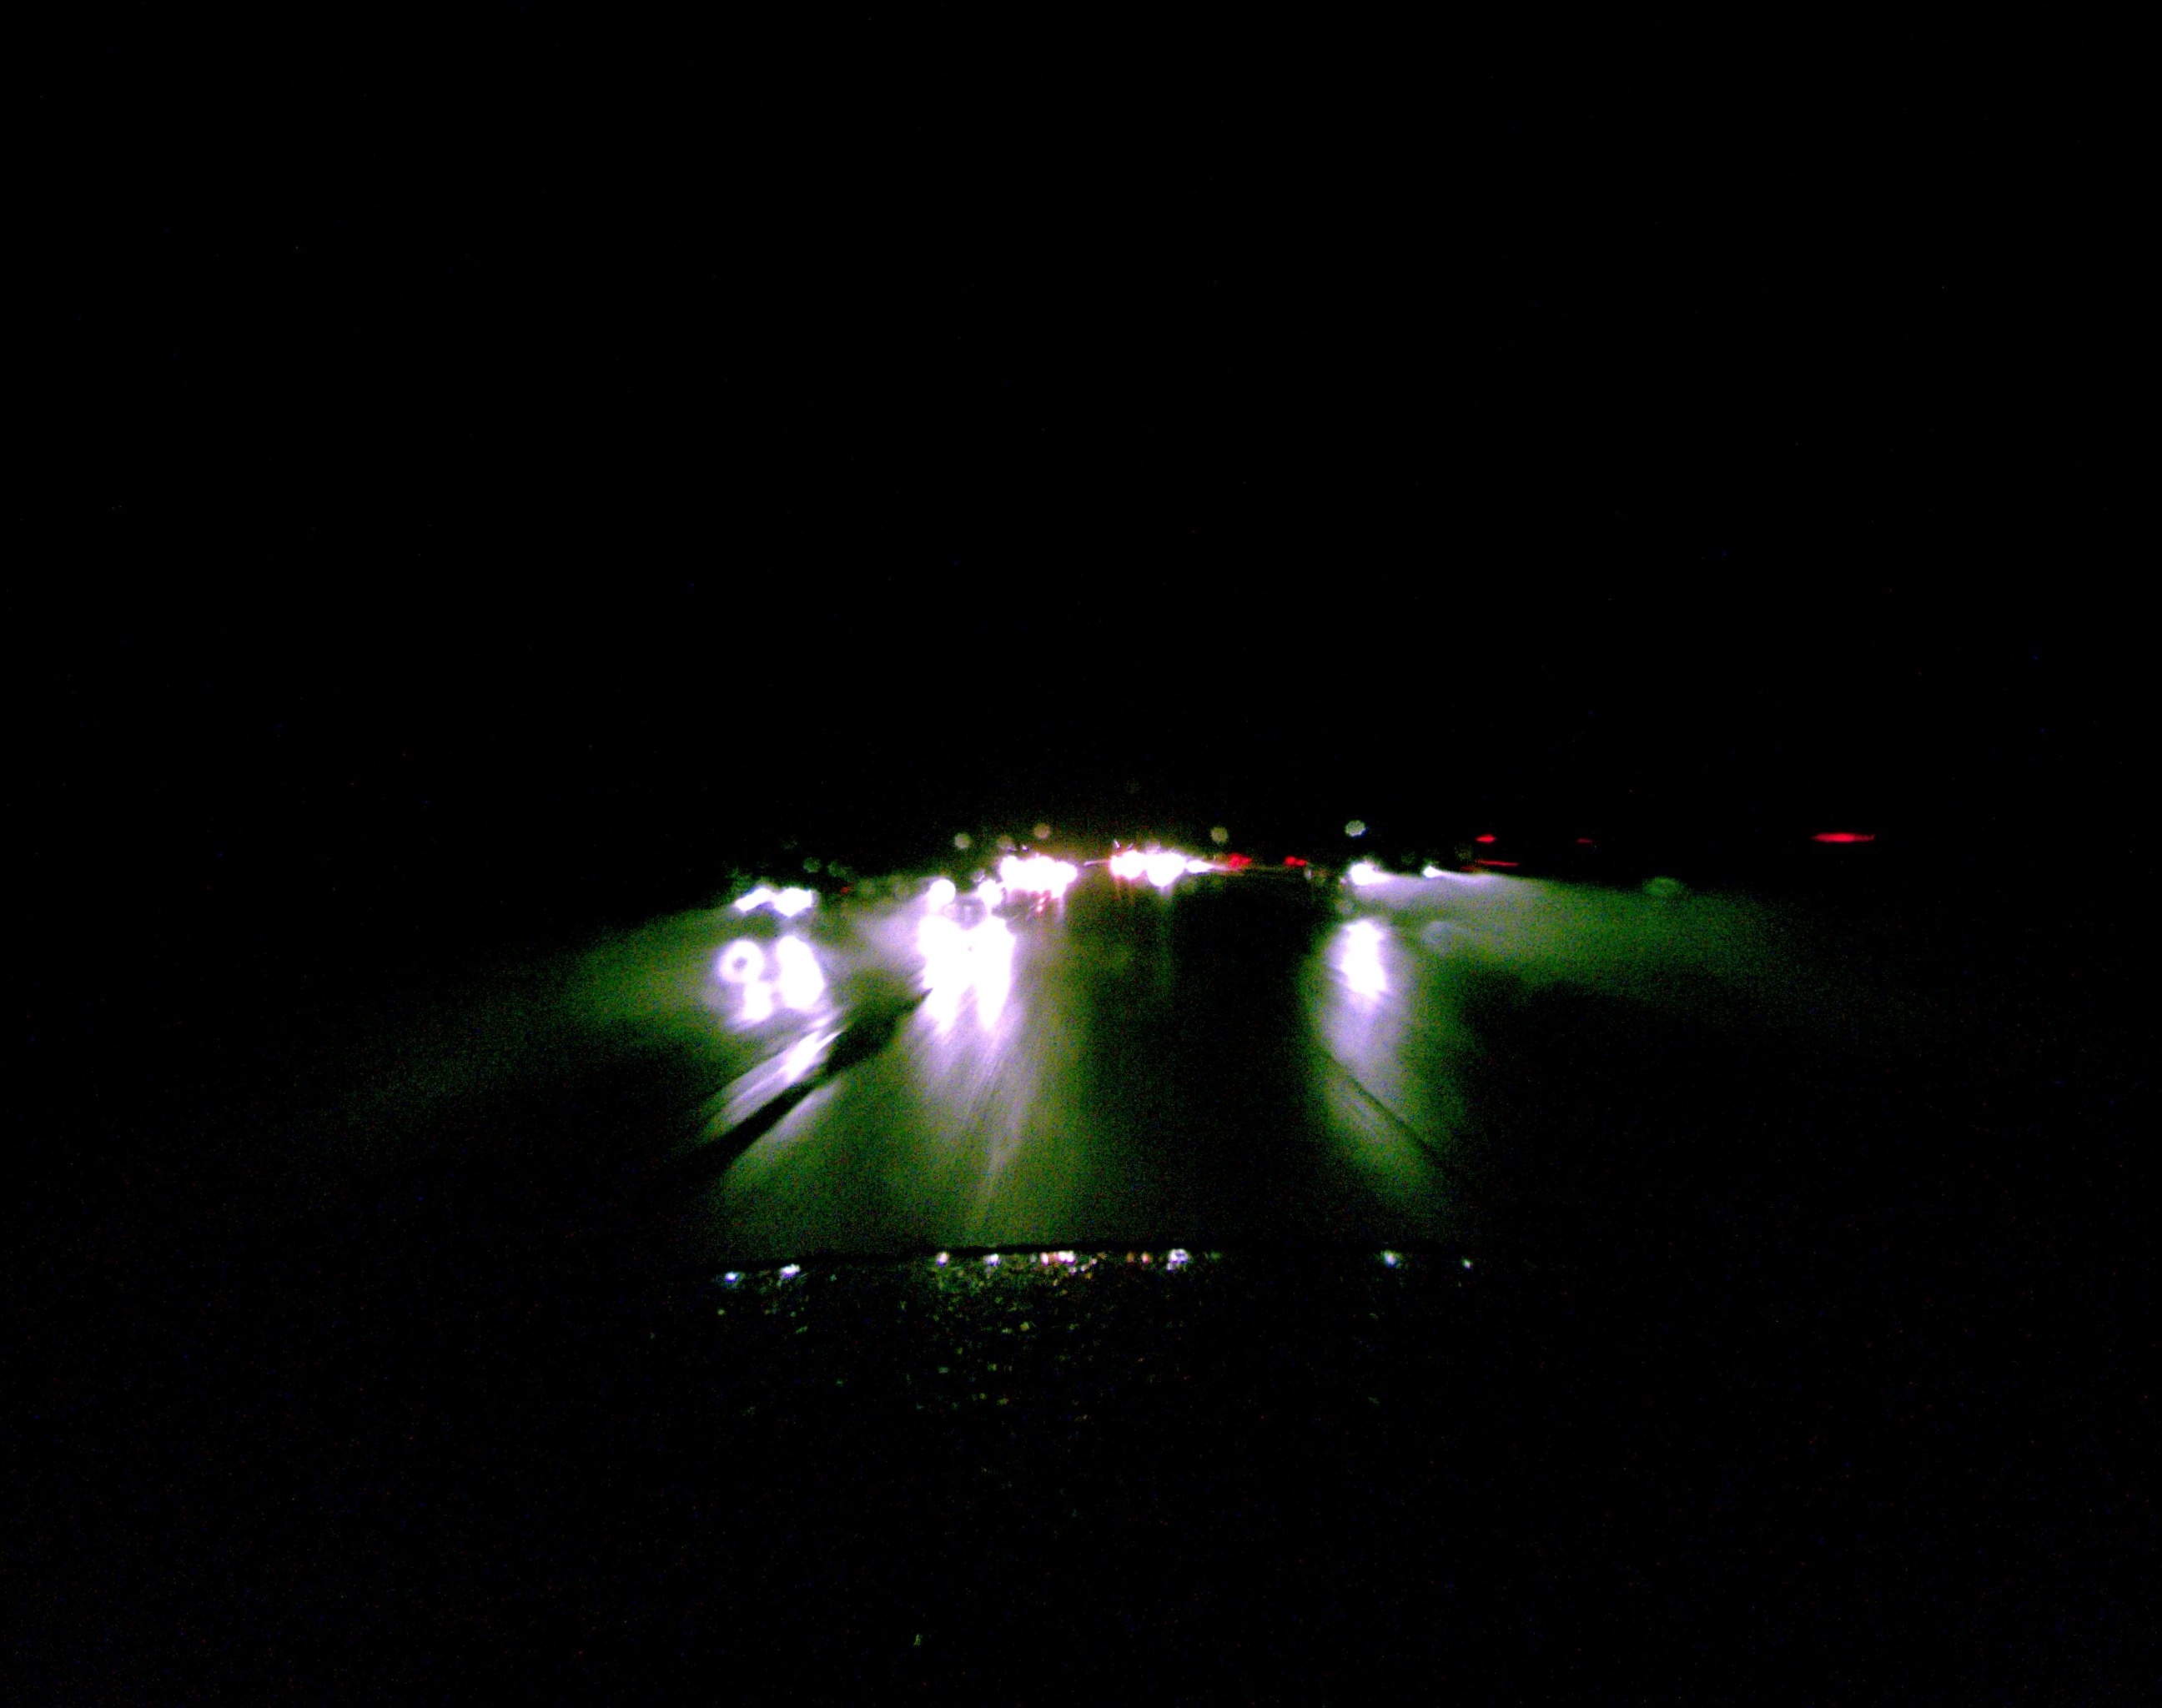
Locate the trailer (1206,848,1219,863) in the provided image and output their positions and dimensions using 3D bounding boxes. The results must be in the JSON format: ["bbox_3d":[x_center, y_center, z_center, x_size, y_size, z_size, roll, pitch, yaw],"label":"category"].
[{"bbox_3d":[42.613,0.415,247.138,2.554,4.518,13.917,1,2,4],"label":"trailer"}]

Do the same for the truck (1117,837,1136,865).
[{"bbox_3d":[7.283,-0.612,124.018,2.503,4.224,13.640,1,2,1],"label":"truck"}]

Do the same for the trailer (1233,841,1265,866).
[{"bbox_3d":[29.193,-0.215,132.463,2.819,3.976,13.928,1,2,2],"label":"trailer"}]

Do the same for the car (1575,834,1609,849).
[{"bbox_3d":[52.708,-1.271,78.452,1.772,1.397,3.244,-2,0,10],"label":"car"}]

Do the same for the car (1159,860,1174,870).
[{"bbox_3d":[12.140,1.559,108.071,1.711,1.286,3.992,1,-1,0],"label":"car"}]

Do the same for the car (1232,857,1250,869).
[{"bbox_3d":[23.290,1.314,111.001,1.844,1.517,4.291,1,2,2],"label":"car"}]

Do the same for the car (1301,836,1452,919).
[{"bbox_3d":[7.631,0.491,20.307,2.141,1.874,5.555,-1,1,3],"label":"car"}]

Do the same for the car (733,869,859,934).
[{"bbox_3d":[-7.717,1.223,21.006,1.723,1.488,4.045,-2,0,3],"label":"car"}]

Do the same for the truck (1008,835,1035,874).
[{"bbox_3d":[-6.749,0.023,86.685,2.766,4.199,6.191,1,2,-3],"label":"truck"}]

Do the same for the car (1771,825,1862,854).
[{"bbox_3d":[48.345,-0.906,50.095,1.997,1.761,4.572,-2,0,8],"label":"car"}]

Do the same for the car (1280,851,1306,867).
[{"bbox_3d":[23.081,0.502,82.787,1.736,1.517,4.291,1,2,2],"label":"car"}]

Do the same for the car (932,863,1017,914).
[{"bbox_3d":[-3.486,1.089,25.732,1.998,1.440,4.336,-2,0,3],"label":"car"}]

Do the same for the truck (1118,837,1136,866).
[{"bbox_3d":[7.108,-0.435,117.161,2.503,4.224,5.981,1,2,1],"label":"truck"}]

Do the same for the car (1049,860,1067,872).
[{"bbox_3d":[-2.500,1.286,81.786,1.712,1.286,3.990,1,-1,-4],"label":"car"}]

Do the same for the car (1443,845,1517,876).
[{"bbox_3d":[21.598,0.326,41.325,1.844,1.517,4.291,1,2,2],"label":"car"}]

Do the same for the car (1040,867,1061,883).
[{"bbox_3d":[-2.610,1.722,64.161,1.712,1.286,3.990,1,-1,-4],"label":"car"}]
